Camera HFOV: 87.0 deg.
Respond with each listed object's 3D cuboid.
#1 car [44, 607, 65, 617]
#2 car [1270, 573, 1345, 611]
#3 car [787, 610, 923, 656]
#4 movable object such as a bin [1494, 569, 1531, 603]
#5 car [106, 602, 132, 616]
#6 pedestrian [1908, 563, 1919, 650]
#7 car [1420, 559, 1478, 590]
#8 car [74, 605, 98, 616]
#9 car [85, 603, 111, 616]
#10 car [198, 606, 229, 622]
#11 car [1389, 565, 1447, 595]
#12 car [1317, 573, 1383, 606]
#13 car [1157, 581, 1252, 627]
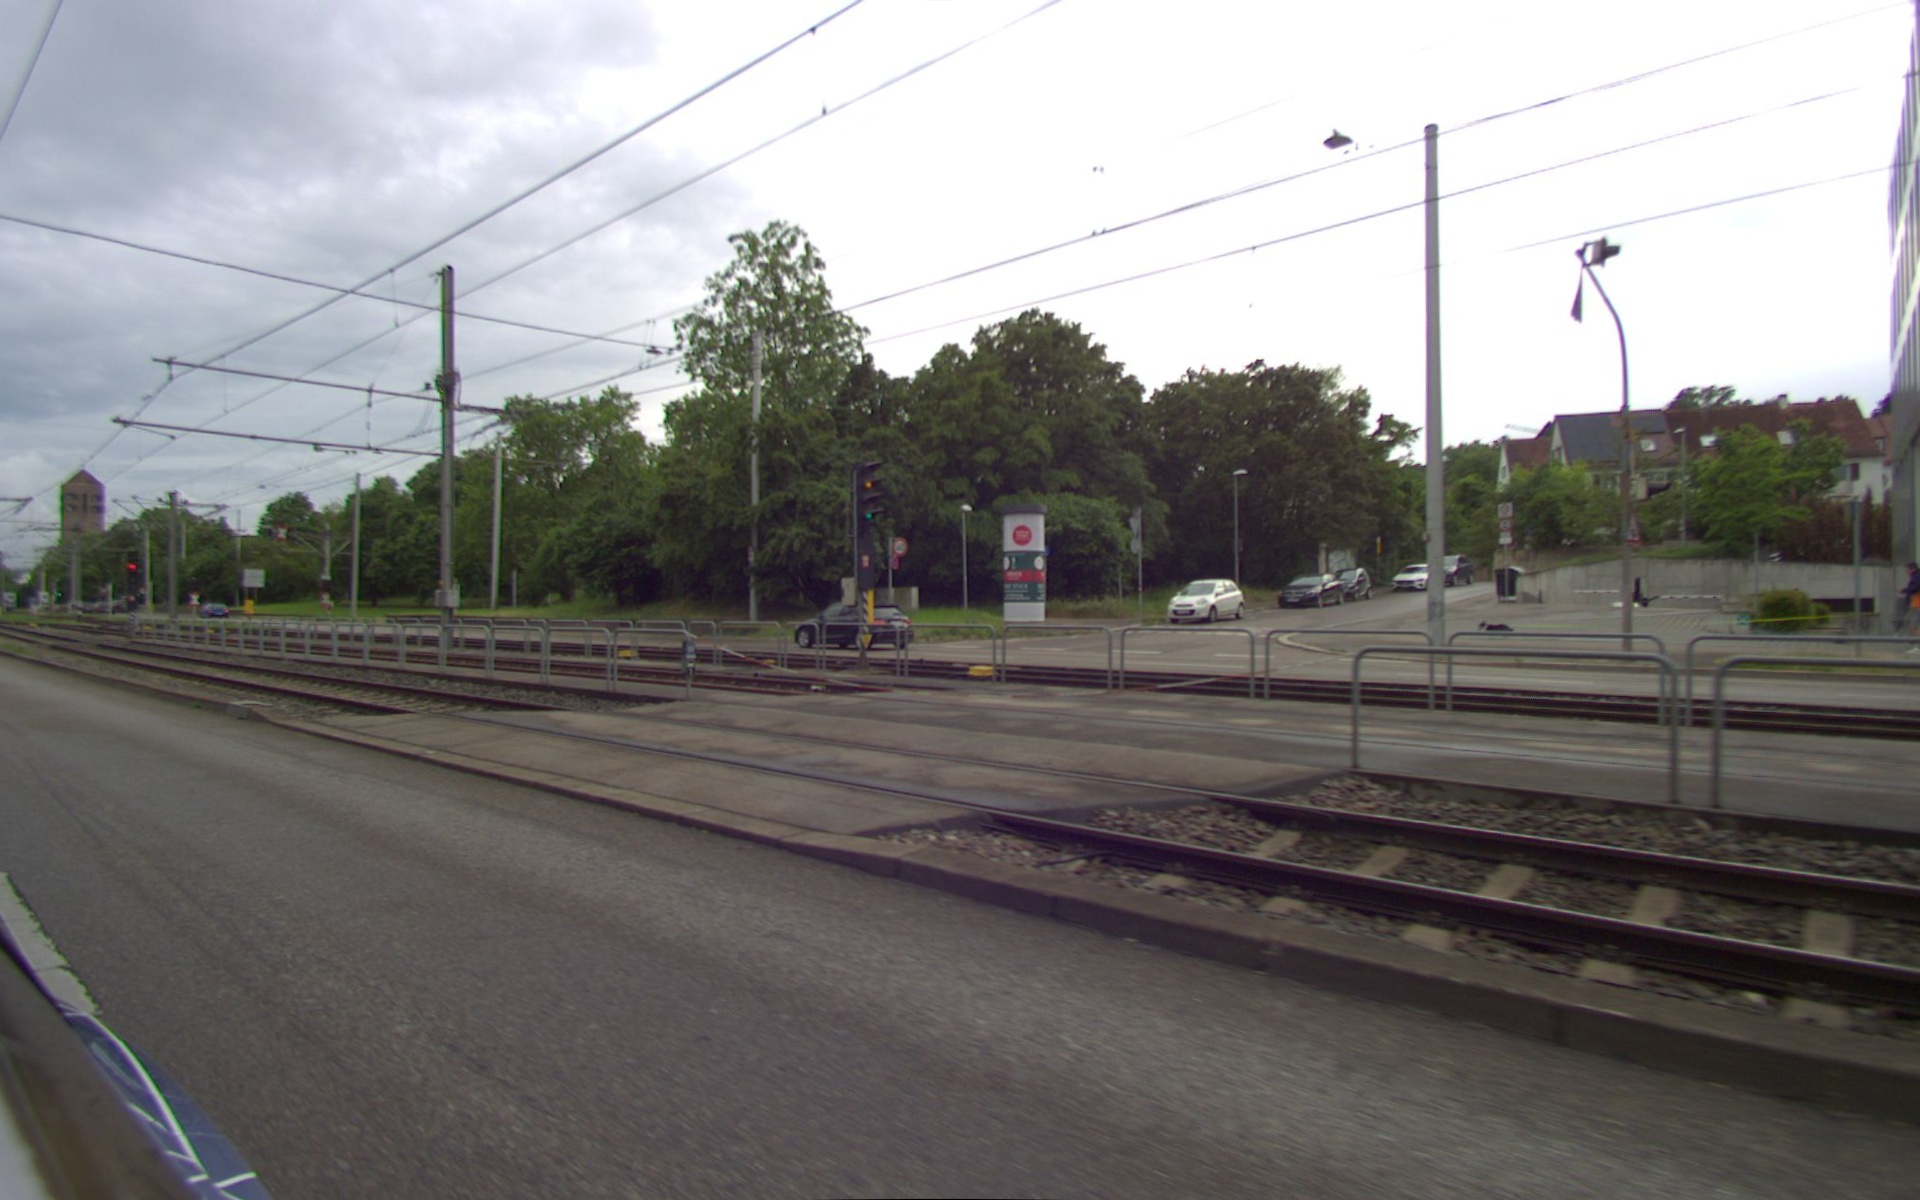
[{"bbox_3d":[-139.789,1.874,156.227,4.680,1.458,1.906,-1,-1,42],"label":"car"},{"bbox_3d":[15.433,-0.385,44.788,1.871,1.464,4.035,-1,2,39],"label":"car"},{"bbox_3d":[-3.114,0.928,29.558,3.986,1.253,1.738,-1,-1,41],"label":"car"},{"bbox_3d":[23.894,-0.607,43.764,1.269,1.406,1.257,-1,2,34],"label":"movable object such as a bin"},{"bbox_3d":[-103.735,1.110,124.764,4.848,1.607,1.926,-1,-1,44],"label":"car"},{"bbox_3d":[18.893,0.114,19.533,0.845,1.660,0.716,0,1,42],"label":"pedestrian"},{"bbox_3d":[29.327,-1.530,60.621,1.946,1.673,4.095,-1,2,44],"label":"car"},{"bbox_3d":[-122.428,1.472,141.734,5.159,1.601,2.066,-1,-1,43],"label":"car"},{"bbox_3d":[-99.625,1.125,116.951,4.309,1.497,1.870,-1,-1,44],"label":"car"},{"bbox_3d":[-70.208,1.326,95.180,3.901,1.408,1.741,-1,-1,44],"label":"car"},{"bbox_3d":[25.606,-1.130,56.548,1.944,1.485,4.215,-1,2,39],"label":"car"},{"bbox_3d":[19.102,-0.524,49.524,1.871,1.421,4.035,-1,2,39],"label":"car"},{"bbox_3d":[9.073,0.131,37.397,1.924,1.464,3.882,-1,2,39],"label":"car"}]
